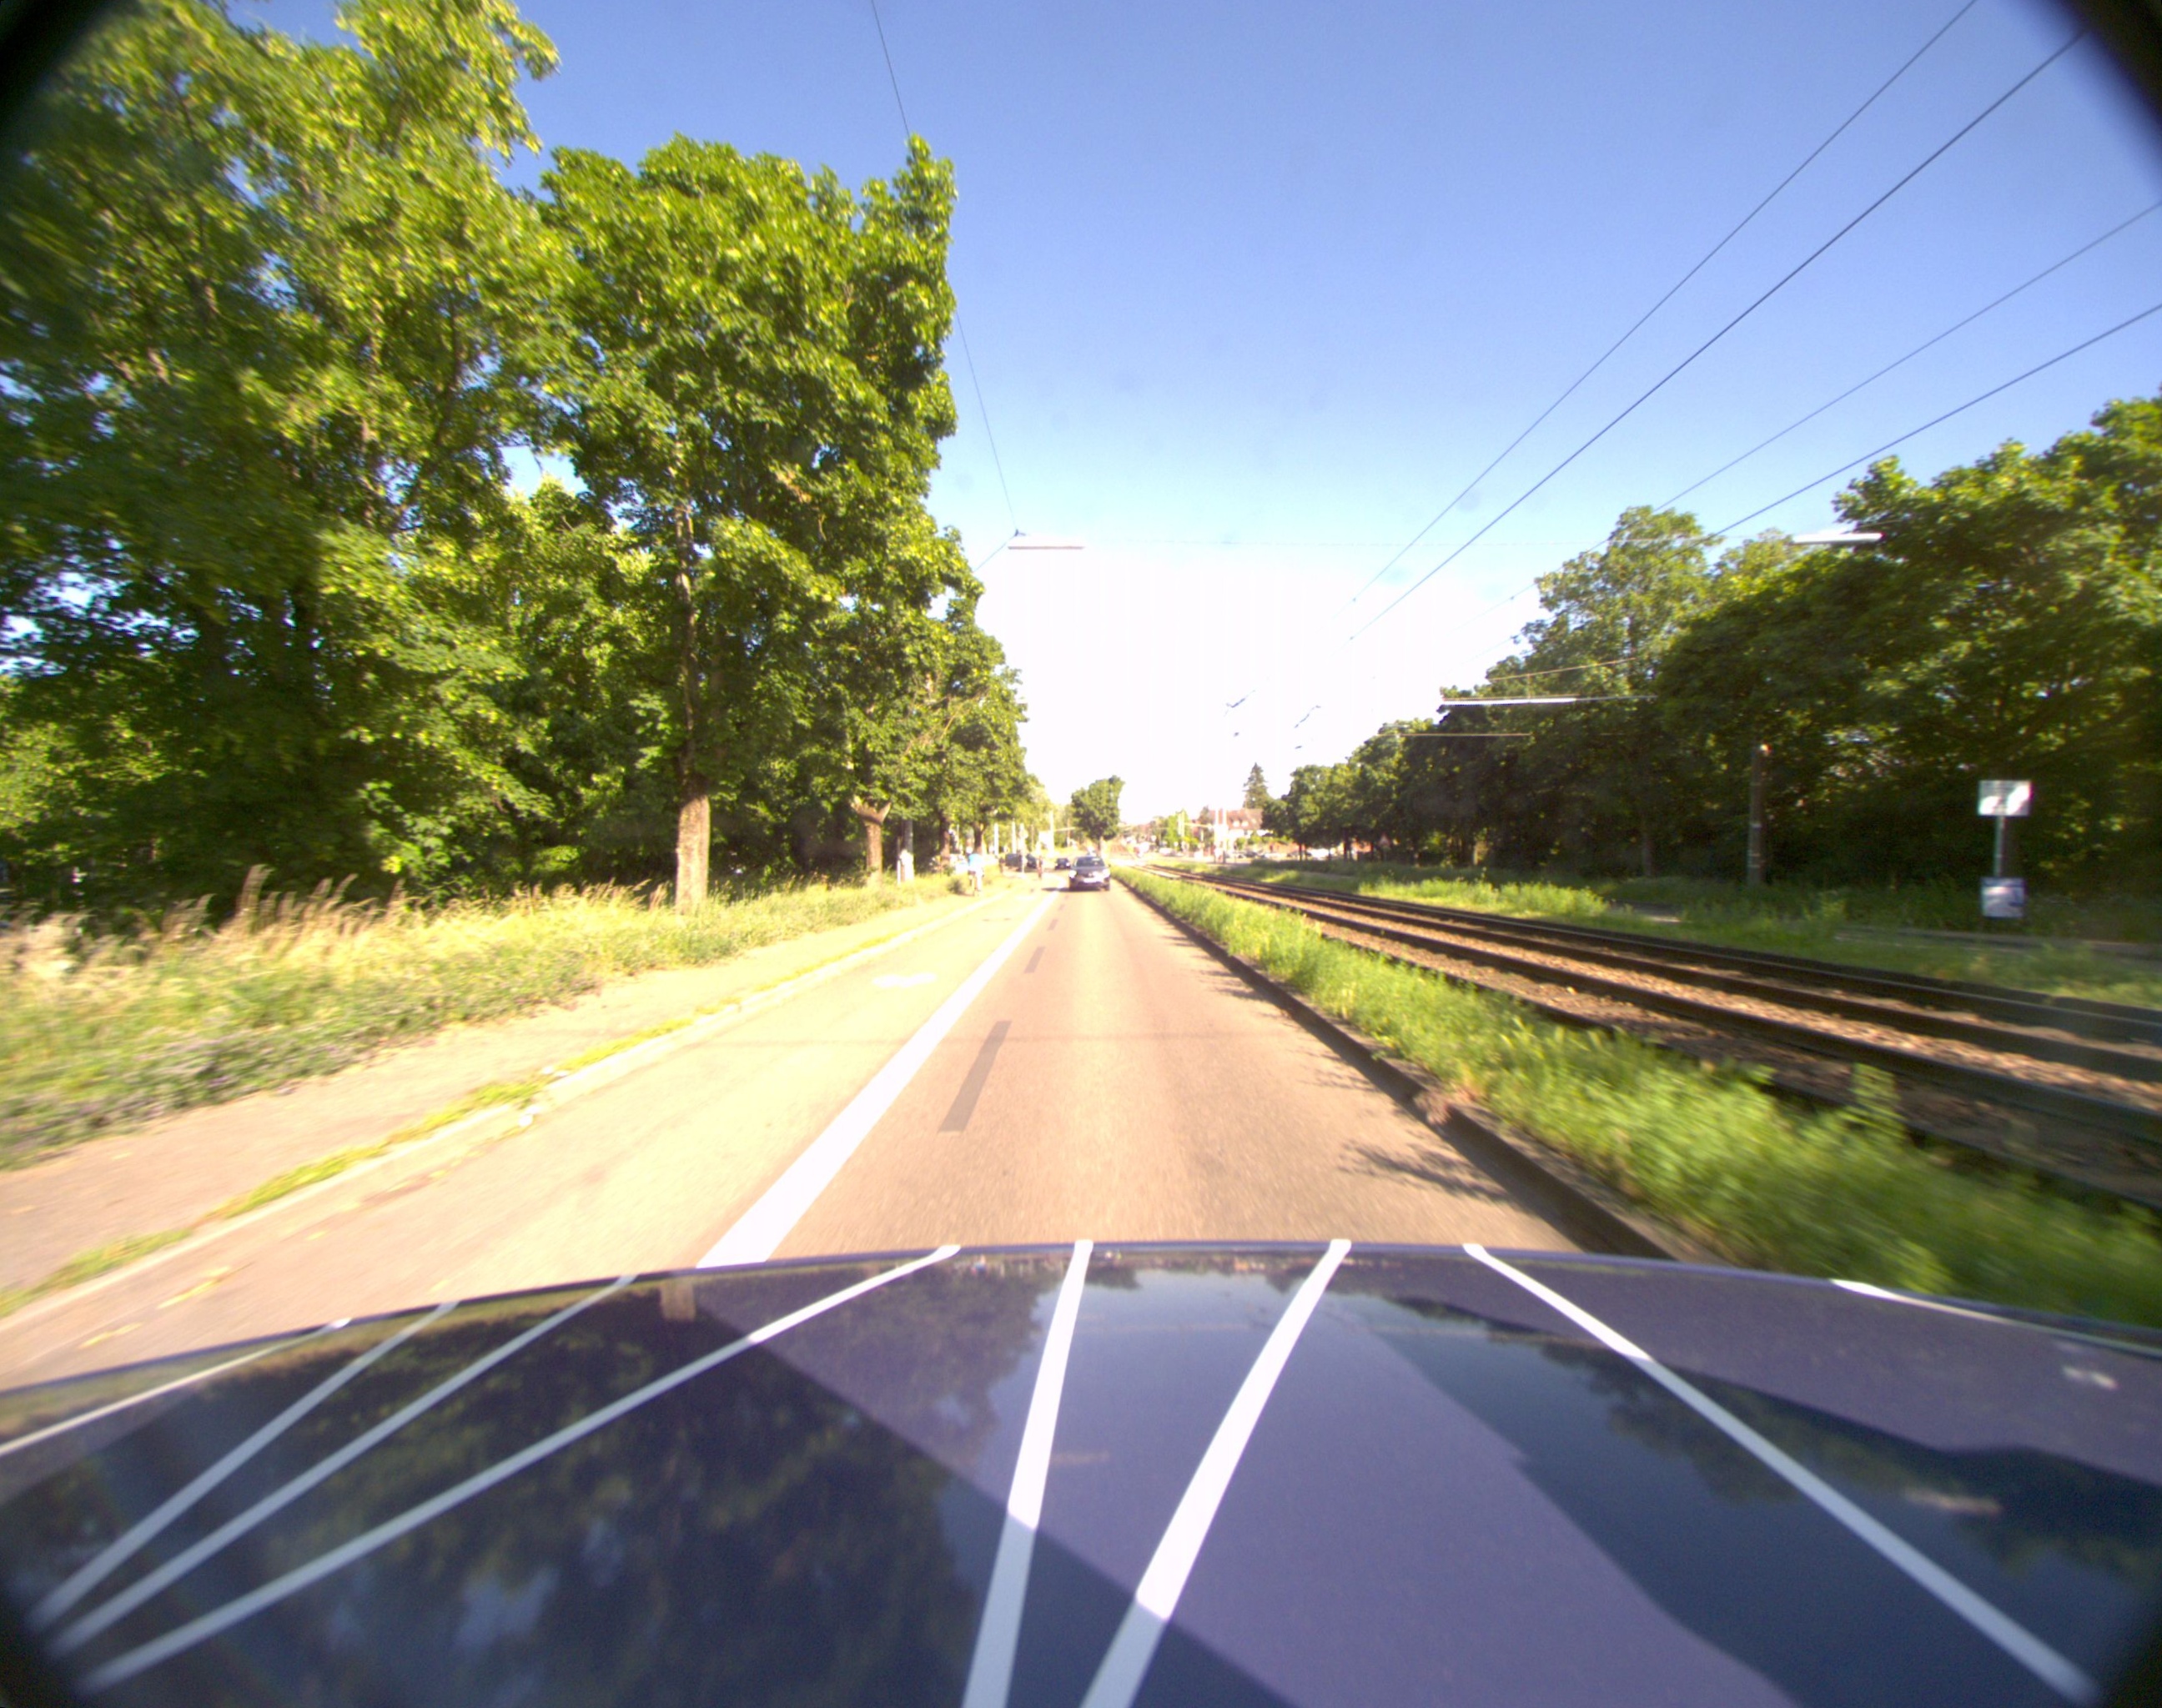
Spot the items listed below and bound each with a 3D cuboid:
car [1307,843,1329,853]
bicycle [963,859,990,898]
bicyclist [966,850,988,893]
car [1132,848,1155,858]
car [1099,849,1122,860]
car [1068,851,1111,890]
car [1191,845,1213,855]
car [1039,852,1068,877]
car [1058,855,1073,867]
[{"bbox_3d":[49.144,-1.272,157.544,4.003,1.936,1.968,-2,1,-19],"label":"car"},{"bbox_3d":[-3.905,0.904,28.570,0.647,1.344,2.240,-2,1,1],"label":"bicycle"},{"bbox_3d":[-3.907,0.655,28.462,0.655,1.575,0.698,-2,1,1],"label":"bicyclist"},{"bbox_3d":[12.554,-0.239,152.250,4.003,1.936,1.968,-2,1,-19],"label":"car"},{"bbox_3d":[5.717,0.053,149.599,4.003,1.936,1.968,-2,1,-19],"label":"car"},{"bbox_3d":[0.417,0.760,35.021,1.814,1.625,4.711,-1,-1,1],"label":"car"},{"bbox_3d":[24.868,-0.753,155.842,4.003,1.936,1.968,-2,1,-19],"label":"car"},{"bbox_3d":[-1.908,0.694,53.734,1.814,1.625,4.128,-2,1,1],"label":"car"},{"bbox_3d":[-1.825,0.793,88.363,1.563,1.279,3.455,-2,1,1],"label":"car"}]
